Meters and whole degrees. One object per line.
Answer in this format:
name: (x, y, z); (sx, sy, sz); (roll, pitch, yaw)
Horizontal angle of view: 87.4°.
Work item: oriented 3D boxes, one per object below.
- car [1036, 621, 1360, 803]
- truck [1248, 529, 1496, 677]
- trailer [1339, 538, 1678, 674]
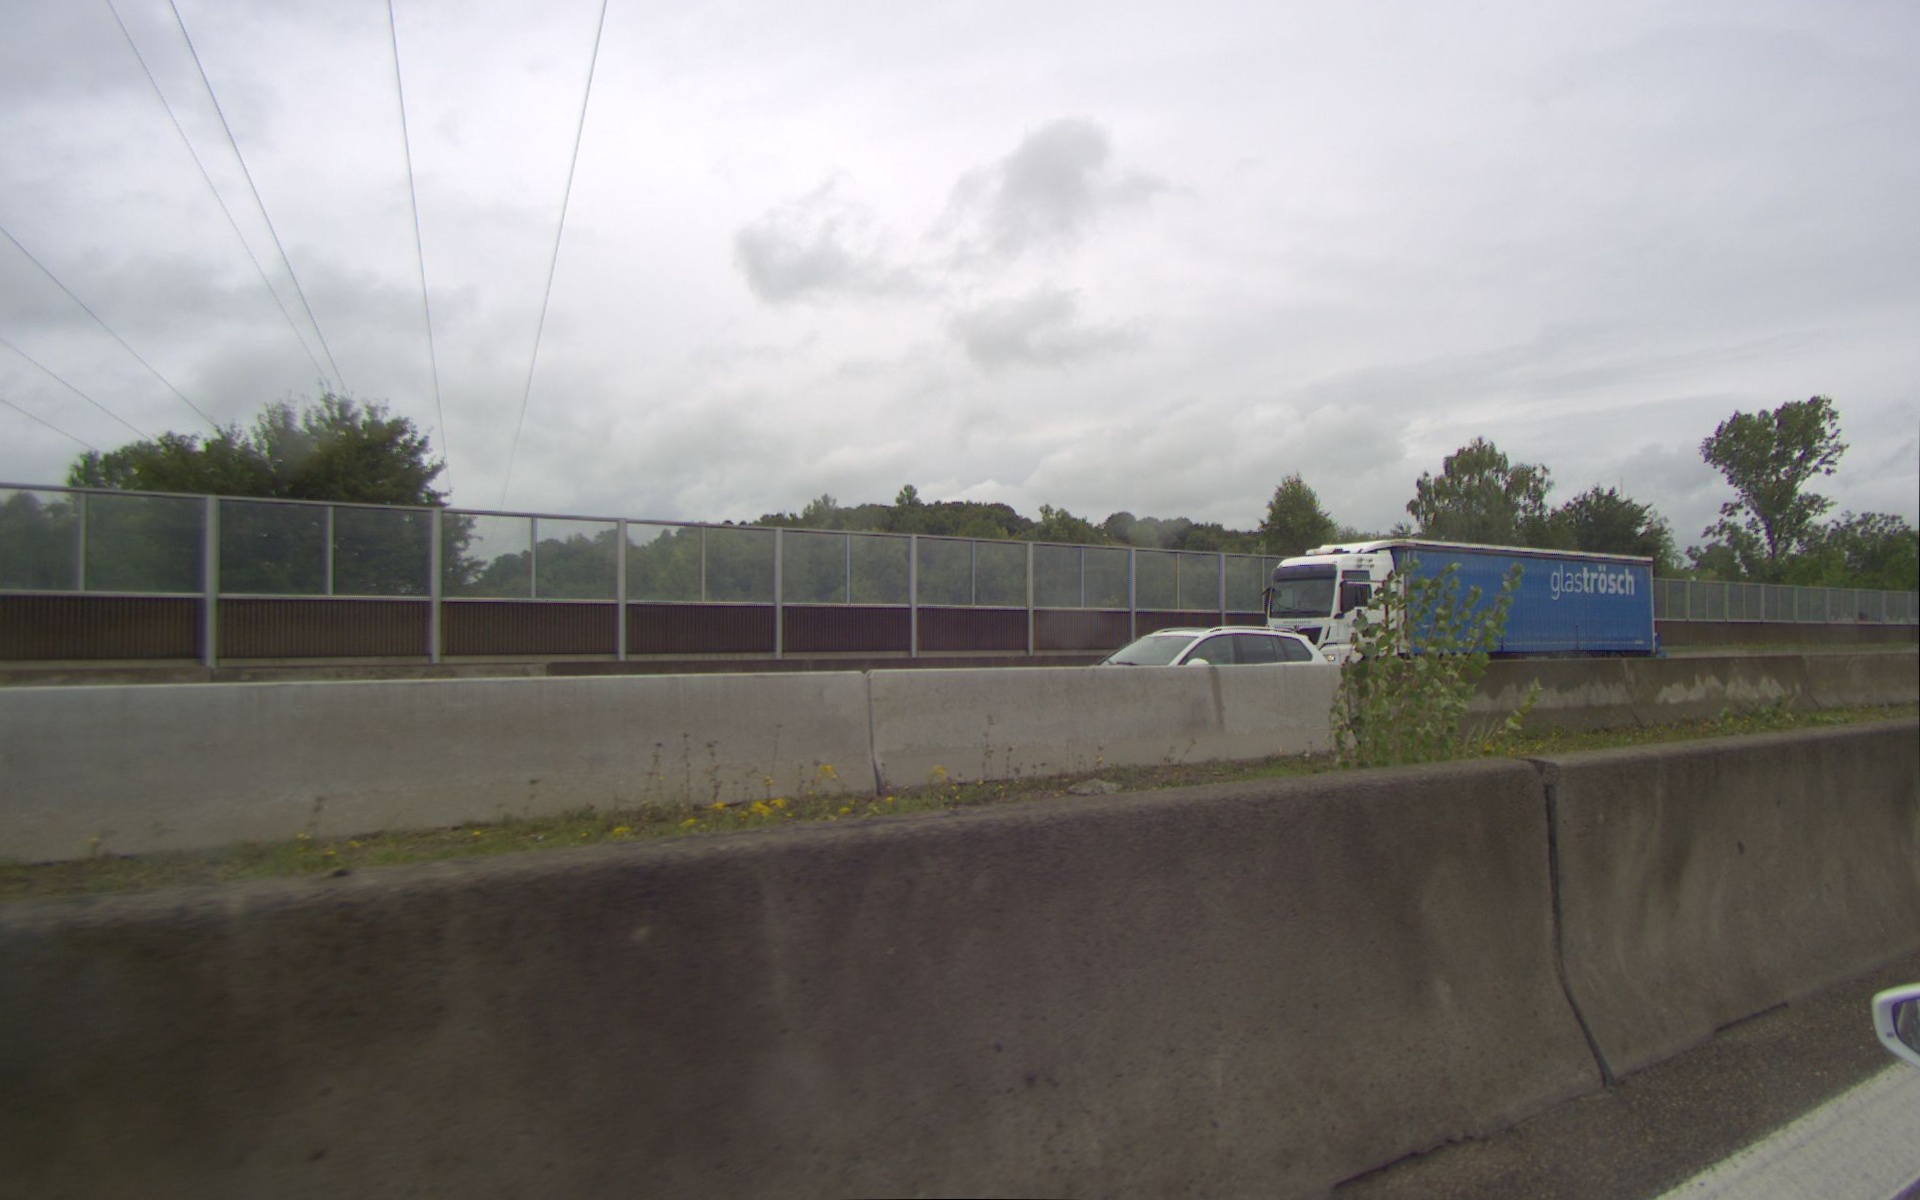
car: (3.226, 1.362, 13.513); (3.953, 2.040, 1.984); (1, 0, -30)
truck: (11.730, 0.120, 28.443); (6.803, 3.741, 2.978); (1, 0, -31)
trailer: (18.100, 0.291, 32.448); (13.897, 3.741, 2.977); (2, 0, -31)
